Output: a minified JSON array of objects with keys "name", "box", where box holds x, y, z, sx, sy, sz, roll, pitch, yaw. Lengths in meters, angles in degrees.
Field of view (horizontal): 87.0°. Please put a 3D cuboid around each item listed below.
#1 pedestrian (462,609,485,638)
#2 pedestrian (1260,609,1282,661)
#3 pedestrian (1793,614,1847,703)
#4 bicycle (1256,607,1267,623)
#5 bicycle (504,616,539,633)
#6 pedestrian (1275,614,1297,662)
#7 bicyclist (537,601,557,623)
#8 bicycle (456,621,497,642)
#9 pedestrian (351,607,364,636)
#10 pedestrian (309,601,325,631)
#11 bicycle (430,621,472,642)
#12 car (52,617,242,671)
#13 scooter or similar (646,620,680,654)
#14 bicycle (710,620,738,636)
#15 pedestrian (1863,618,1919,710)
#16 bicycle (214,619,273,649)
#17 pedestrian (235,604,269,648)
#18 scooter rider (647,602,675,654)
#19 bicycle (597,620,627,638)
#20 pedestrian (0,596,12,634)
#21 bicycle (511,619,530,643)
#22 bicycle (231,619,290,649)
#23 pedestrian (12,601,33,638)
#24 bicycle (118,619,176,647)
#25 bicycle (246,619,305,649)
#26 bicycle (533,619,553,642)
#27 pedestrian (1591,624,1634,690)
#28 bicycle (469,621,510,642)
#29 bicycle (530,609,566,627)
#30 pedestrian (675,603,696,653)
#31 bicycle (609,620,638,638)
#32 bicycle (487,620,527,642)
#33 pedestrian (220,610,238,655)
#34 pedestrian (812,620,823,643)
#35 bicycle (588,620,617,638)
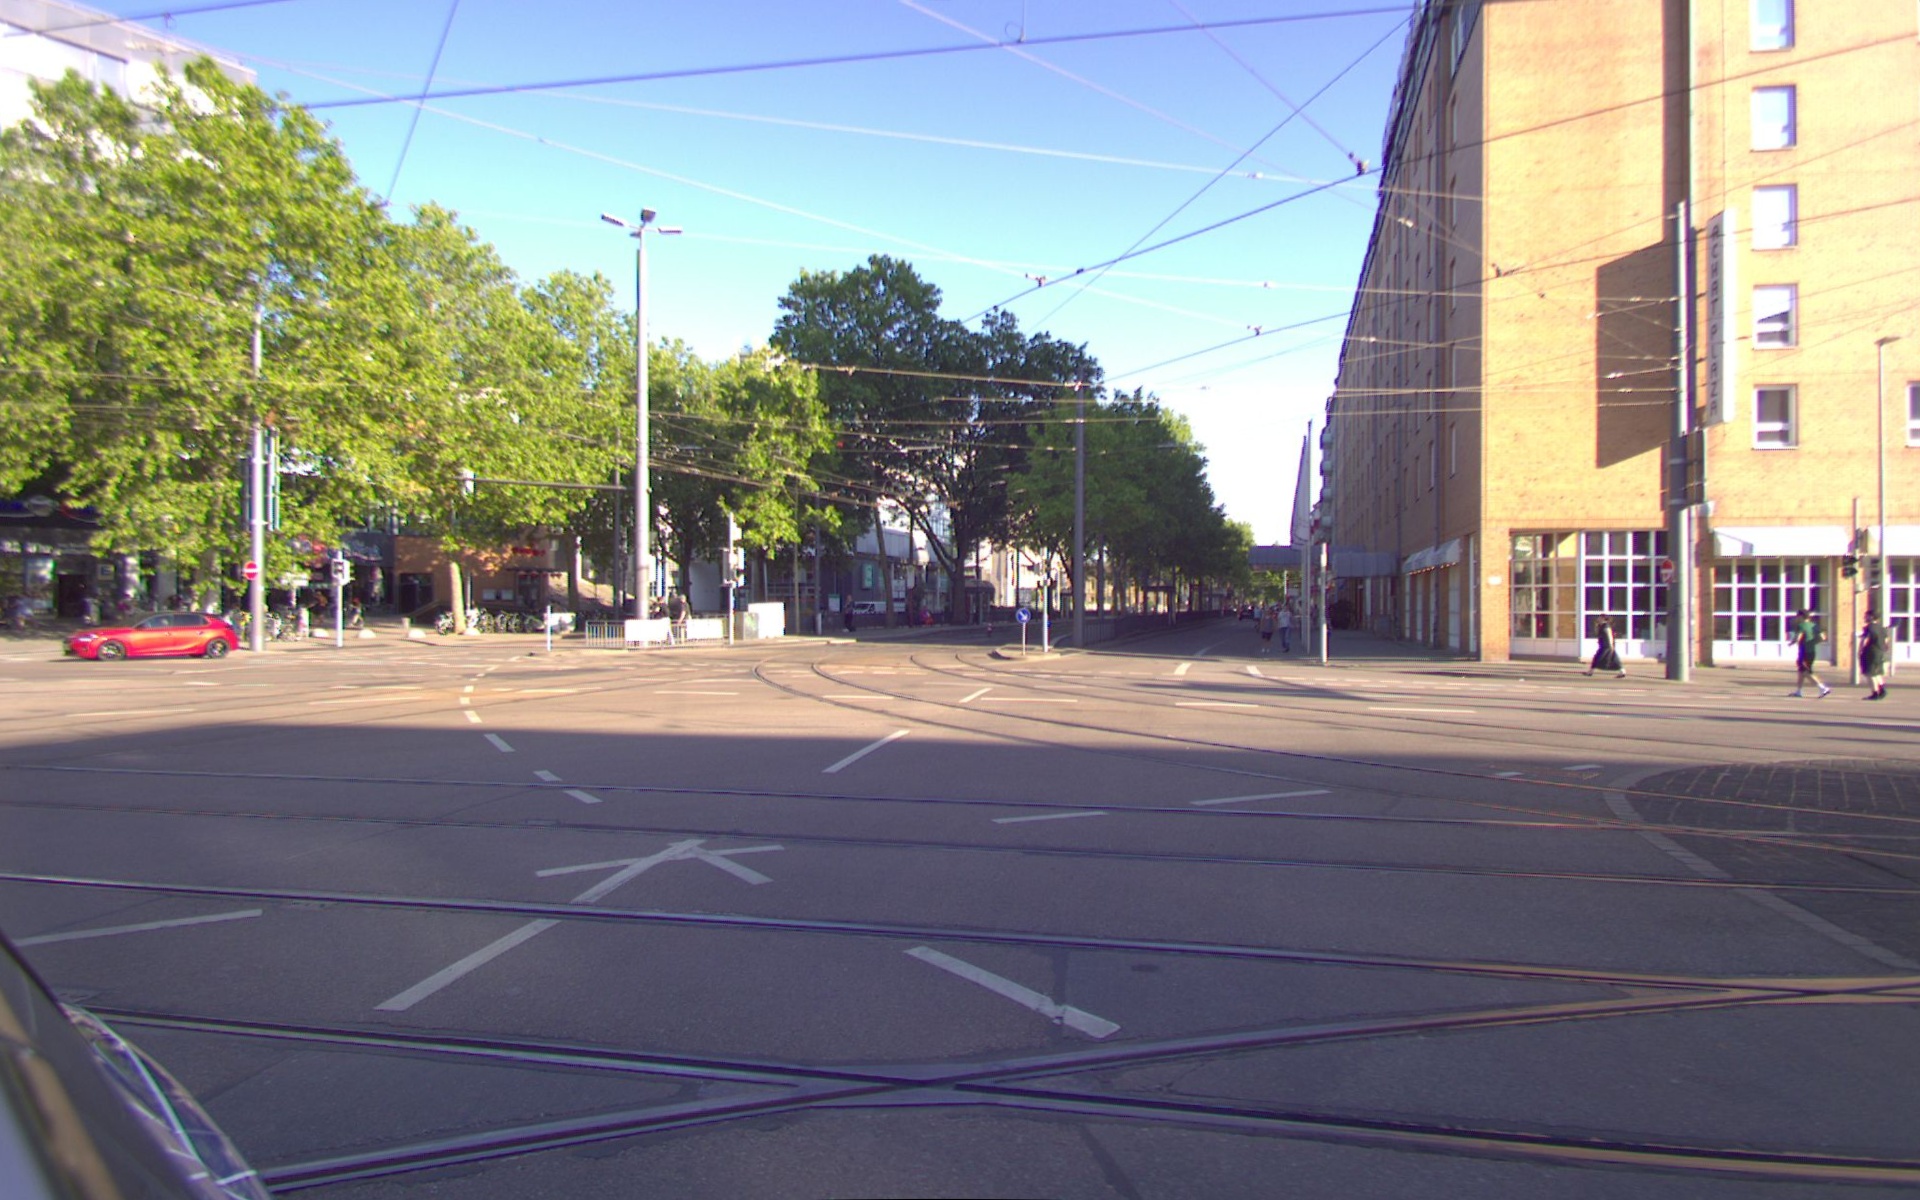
[{"name":"pedestrian","box":[-26.889,1.301,55.989,0.759,1.554,0.871,0,-1,14]},{"name":"pedestrian","box":[11.644,1.295,37.919,0.645,1.909,0.738,0,-1,30]},{"name":"pedestrian","box":[17.076,1.143,20.116,0.777,1.730,0.633,0,-1,38]},{"name":"bicycle","box":[19.964,0.981,67.047,0.608,1.026,2.143,0,-1,15]},{"name":"bicycle","box":[-28.295,1.590,65.303,1.986,1.075,0.696,1,-1,-1]},{"name":"pedestrian","box":[12.046,1.407,37.398,0.645,1.756,0.698,-1,-1,30]},{"name":"bicyclist","box":[-25.930,0.749,63.561,0.944,1.354,0.675,1,-1,-44]},{"name":"bicycle","box":[-24.880,1.609,52.105,0.777,1.072,1.934,0,-1,20]},{"name":"pedestrian","box":[-34.940,1.226,58.664,0.535,1.682,0.571,1,-1,-41]},{"name":"pedestrian","box":[-35.880,0.888,56.510,0.542,1.682,0.564,0,-1,34]},{"name":"bicycle","box":[-26.151,1.618,52.063,0.777,1.072,1.934,0,-1,20]},{"name":"car","box":[-23.456,1.207,29.346,1.686,1.439,3.958,-1,-1,31]},{"name":"scooter or similar","box":[-10.684,1.324,36.356,1.153,1.188,0.451,0,-1,25]},{"name":"bicycle","box":[-16.551,1.966,71.049,1.933,1.072,0.574,0,-1,22]},{"name":"pedestrian","box":[17.984,1.214,19.529,0.777,1.730,0.633,0,-1,38]},{"name":"bicycle","box":[-28.323,1.346,40.029,0.768,1.138,1.834,0,-1,15]},{"name":"pedestrian","box":[-29.261,1.069,41.831,0.724,1.778,0.888,-1,-2,16]},{"name":"scooter rider","box":[-10.765,0.997,36.414,0.759,1.847,0.584,0,-1,24]},{"name":"bicycle","box":[-20.702,1.711,60.205,0.574,1.072,1.934,0,-1,20]},{"name":"pedestrian","box":[-43.704,0.681,46.160,0.583,1.768,0.596,1,-1,-40]},{"name":"bicycle","box":[-23.752,1.661,54.715,0.770,1.198,3.570,1,-1,-26]},{"name":"bicycle","box":[-27.503,1.337,39.839,0.768,1.138,1.834,0,-1,15]},{"name":"pedestrian","box":[-43.195,0.903,46.636,0.592,1.669,0.588,0,-1,37]},{"name":"bicycle","box":[-31.160,1.248,38.821,0.544,1.044,1.688,0,-1,19]},{"name":"bicycle","box":[-26.744,1.327,39.585,0.768,1.138,1.834,0,-1,15]},{"name":"bicycle","box":[-22.910,1.668,55.521,0.770,1.198,3.570,1,-1,-26]},{"name":"pedestrian","box":[15.902,1.368,24.686,0.867,1.565,0.539,0,-1,33]},{"name":"bicycle","box":[-24.090,1.598,51.815,0.777,1.072,1.934,0,-1,20]},{"name":"bicycle","box":[-25.893,1.126,63.592,1.985,1.075,0.696,1,-1,-44]},{"name":"pedestrian","box":[-10.042,1.024,37.067,0.562,1.809,0.672,1,-1,2]},{"name":"bicycle","box":[-19.923,1.701,59.954,0.574,1.072,1.934,0,-1,20]},{"name":"bicycle","box":[-23.104,1.588,51.645,0.777,1.072,1.934,0,-1,20]},{"name":"pedestrian","box":[-25.705,1.145,35.588,0.476,1.550,0.574,1,-1,-36]},{"name":"pedestrian","box":[-6.583,1.464,46.757,0.402,1.040,0.377,0,-1,12]},{"name":"bicycle","box":[-21.400,1.722,60.577,0.574,1.072,1.934,0,-1,20]}]
